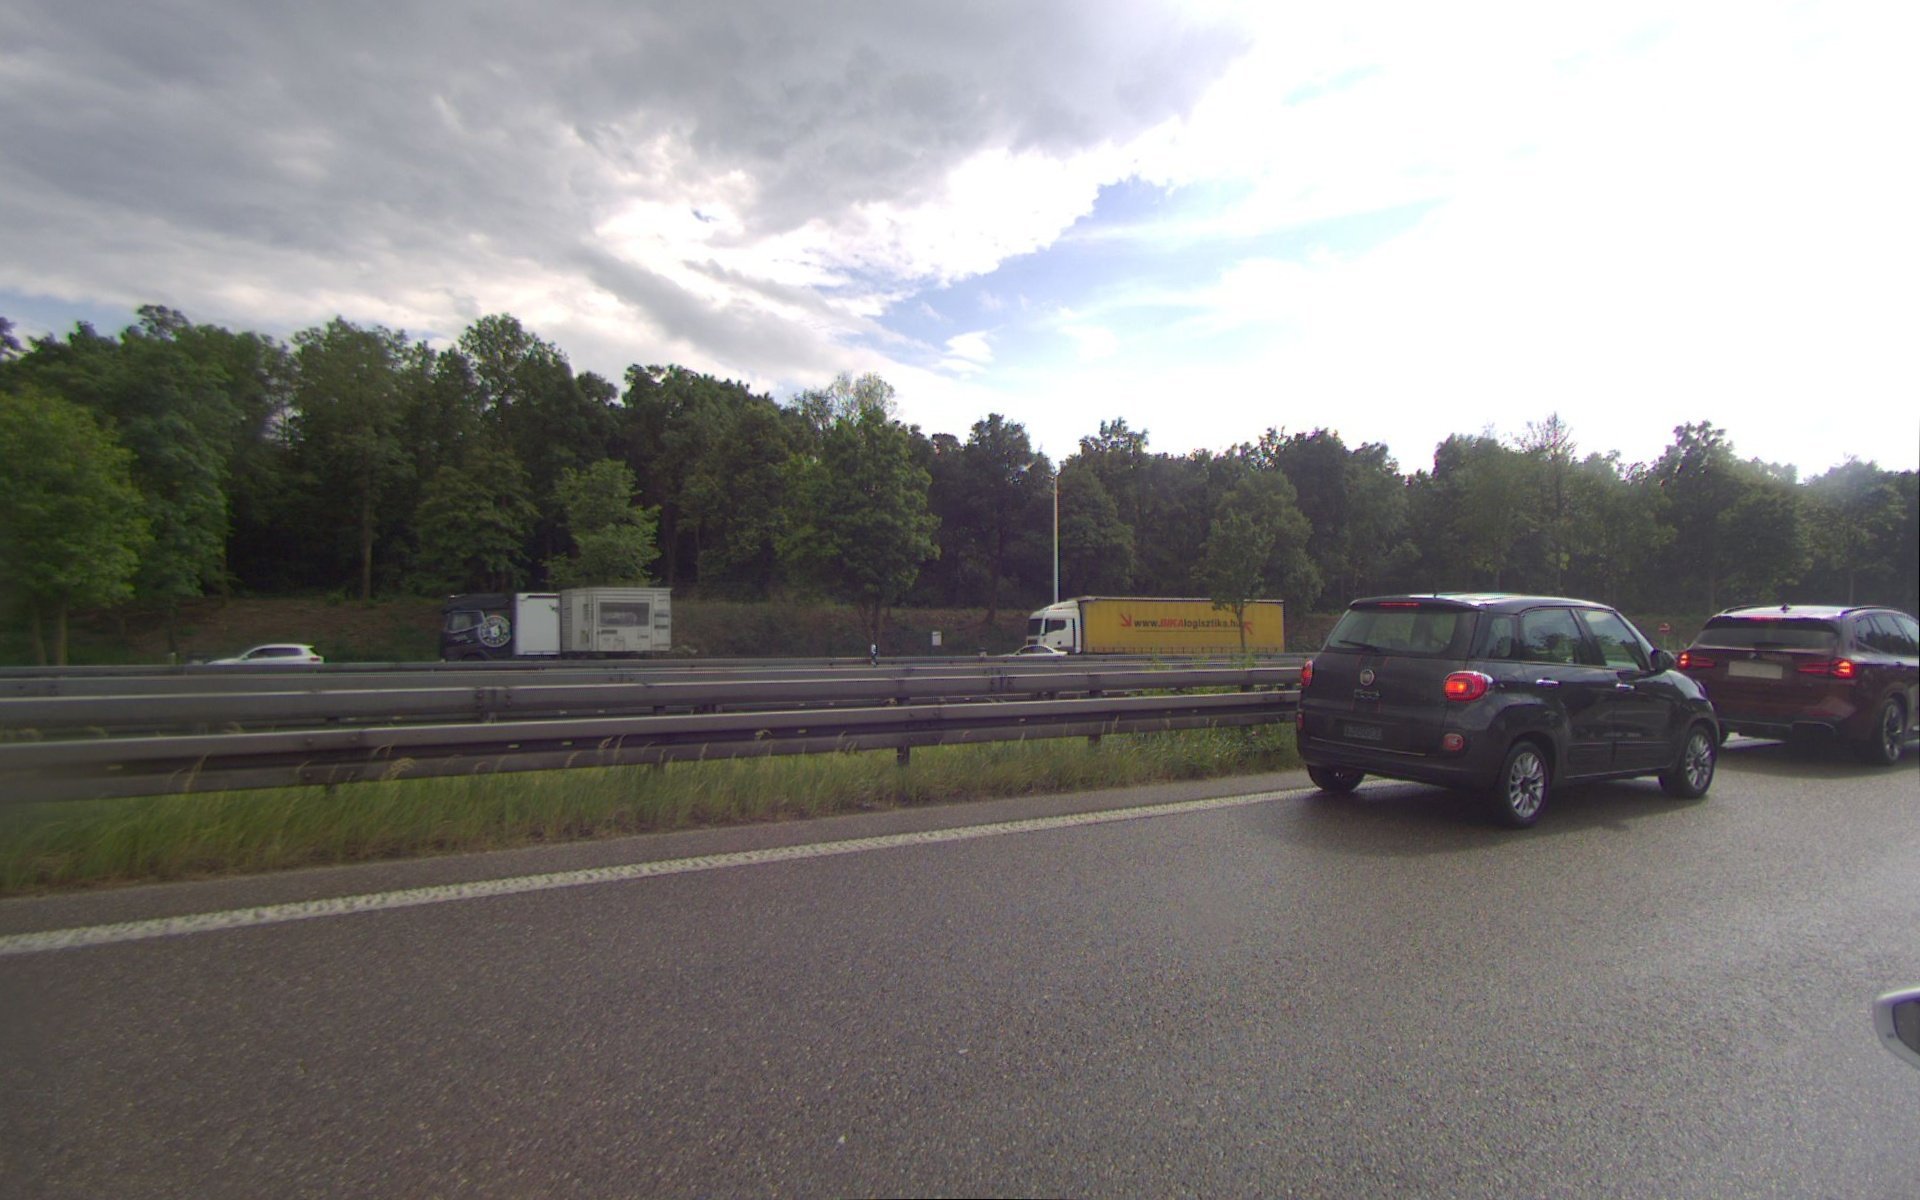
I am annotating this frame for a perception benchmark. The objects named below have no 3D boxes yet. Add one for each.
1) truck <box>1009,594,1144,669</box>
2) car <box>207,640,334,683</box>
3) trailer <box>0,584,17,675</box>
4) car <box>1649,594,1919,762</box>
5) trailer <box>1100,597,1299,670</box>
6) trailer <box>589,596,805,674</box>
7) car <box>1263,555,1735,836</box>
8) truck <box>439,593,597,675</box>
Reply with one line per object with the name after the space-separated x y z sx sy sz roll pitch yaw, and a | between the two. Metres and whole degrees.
6.817 1.842 59.394 6.933 4.171 3.786 2 0 -17 | truck
-30.191 2.678 44.165 4.313 1.741 2.050 2 0 -28 | car
-44.507 1.083 37.317 13.187 3.697 3.771 1 -1 -30 | trailer
10.354 0.847 11.917 4.564 1.658 1.899 2 -2 -31 | car
14.736 2.074 61.863 11.538 4.171 3.786 2 0 -17 | trailer
-13.529 1.786 51.805 10.349 3.697 3.780 1 -1 -24 | trailer
4.527 0.668 8.299 3.931 1.829 1.683 2 0 -32 | car
-21.158 1.607 48.307 6.615 3.709 3.776 2 0 -25 | truck
